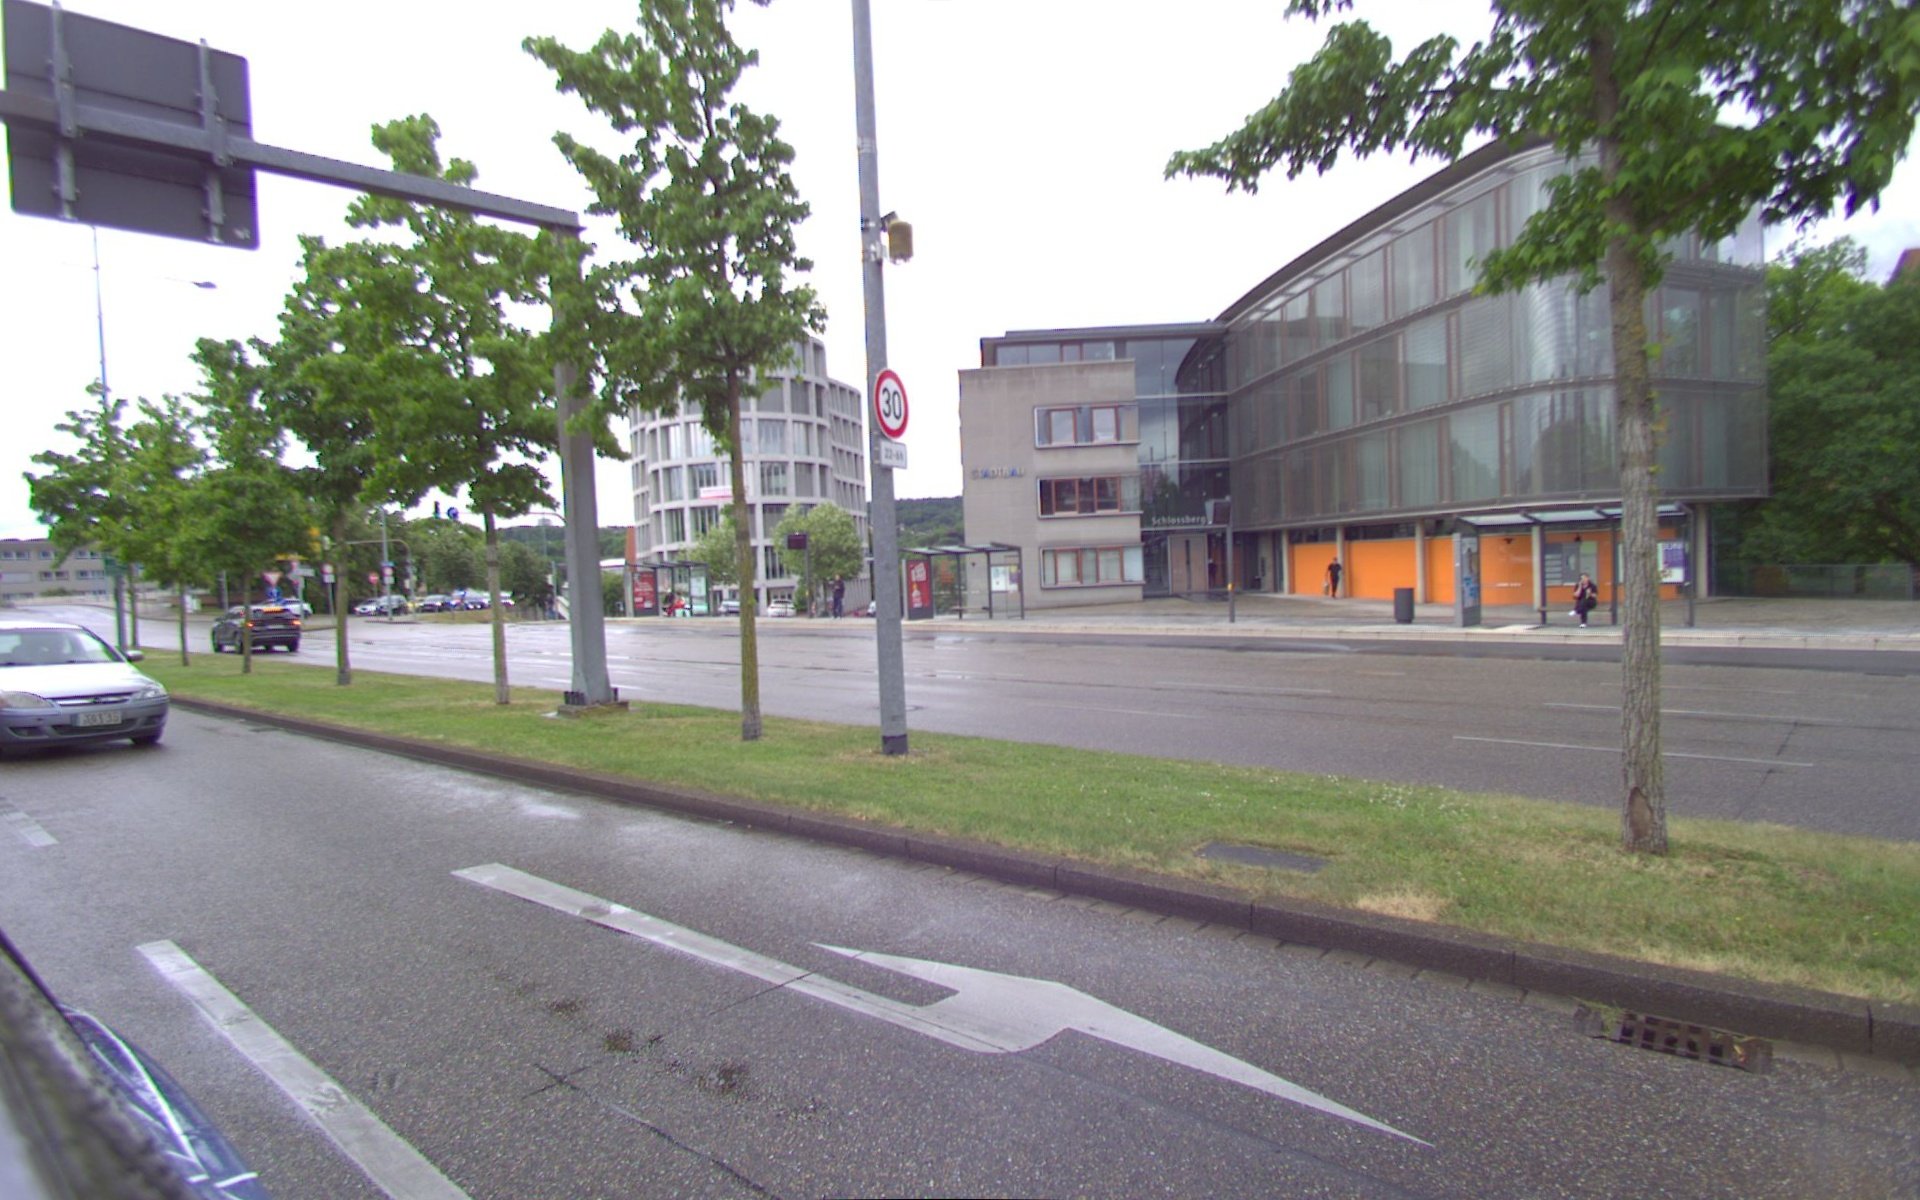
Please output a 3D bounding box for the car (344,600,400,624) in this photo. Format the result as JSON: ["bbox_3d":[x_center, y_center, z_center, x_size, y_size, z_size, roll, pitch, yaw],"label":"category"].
[{"bbox_3d":[-46.970,0.953,80.965,1.974,1.807,3.996,-1,0,4],"label":"car"}]

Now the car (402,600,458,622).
[{"bbox_3d":[-43.295,0.875,82.830,2.164,1.725,4.919,-1,0,-3],"label":"car"}]

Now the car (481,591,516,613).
[{"bbox_3d":[-44.954,0.219,98.656,1.969,2.029,4.005,-1,0,-6],"label":"car"}]

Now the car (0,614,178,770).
[{"bbox_3d":[-10.610,0.941,11.354,3.721,1.469,1.612,-1,0,30],"label":"car"}]

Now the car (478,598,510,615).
[{"bbox_3d":[-48.702,0.709,105.741,2.160,1.725,4.929,-2,0,-35],"label":"car"}]

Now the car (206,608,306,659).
[{"bbox_3d":[-25.175,1.153,36.121,4.597,1.652,1.803,-1,1,41],"label":"car"}]

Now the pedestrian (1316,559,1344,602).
[{"bbox_3d":[14.803,-0.779,40.534,0.697,1.666,0.852,-1,0,-6],"label":"pedestrian"}]

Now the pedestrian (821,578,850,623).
[{"bbox_3d":[-5.104,0.018,41.603,0.964,1.773,0.783,-1,0,12],"label":"pedestrian"}]

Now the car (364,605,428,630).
[{"bbox_3d":[-42.247,1.272,75.935,2.164,1.725,4.919,-1,0,-3],"label":"car"}]

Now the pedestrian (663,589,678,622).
[{"bbox_3d":[-14.563,0.294,50.907,0.535,1.647,0.514,-1,0,41],"label":"pedestrian"}]

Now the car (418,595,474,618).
[{"bbox_3d":[-50.171,0.639,98.827,5.005,2.029,2.291,-1,0,25],"label":"car"}]

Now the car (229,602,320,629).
[{"bbox_3d":[-48.010,1.082,70.977,2.184,1.725,4.875,-1,0,25],"label":"car"}]

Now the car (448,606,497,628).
[{"bbox_3d":[-43.069,1.484,89.526,2.164,1.725,4.920,-1,0,-3],"label":"car"}]

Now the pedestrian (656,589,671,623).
[{"bbox_3d":[-14.734,0.299,50.339,0.501,1.647,0.497,-1,0,41],"label":"pedestrian"}]

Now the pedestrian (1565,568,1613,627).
[{"bbox_3d":[14.601,-0.050,23.483,0.790,1.334,0.793,-1,0,42],"label":"pedestrian"}]
